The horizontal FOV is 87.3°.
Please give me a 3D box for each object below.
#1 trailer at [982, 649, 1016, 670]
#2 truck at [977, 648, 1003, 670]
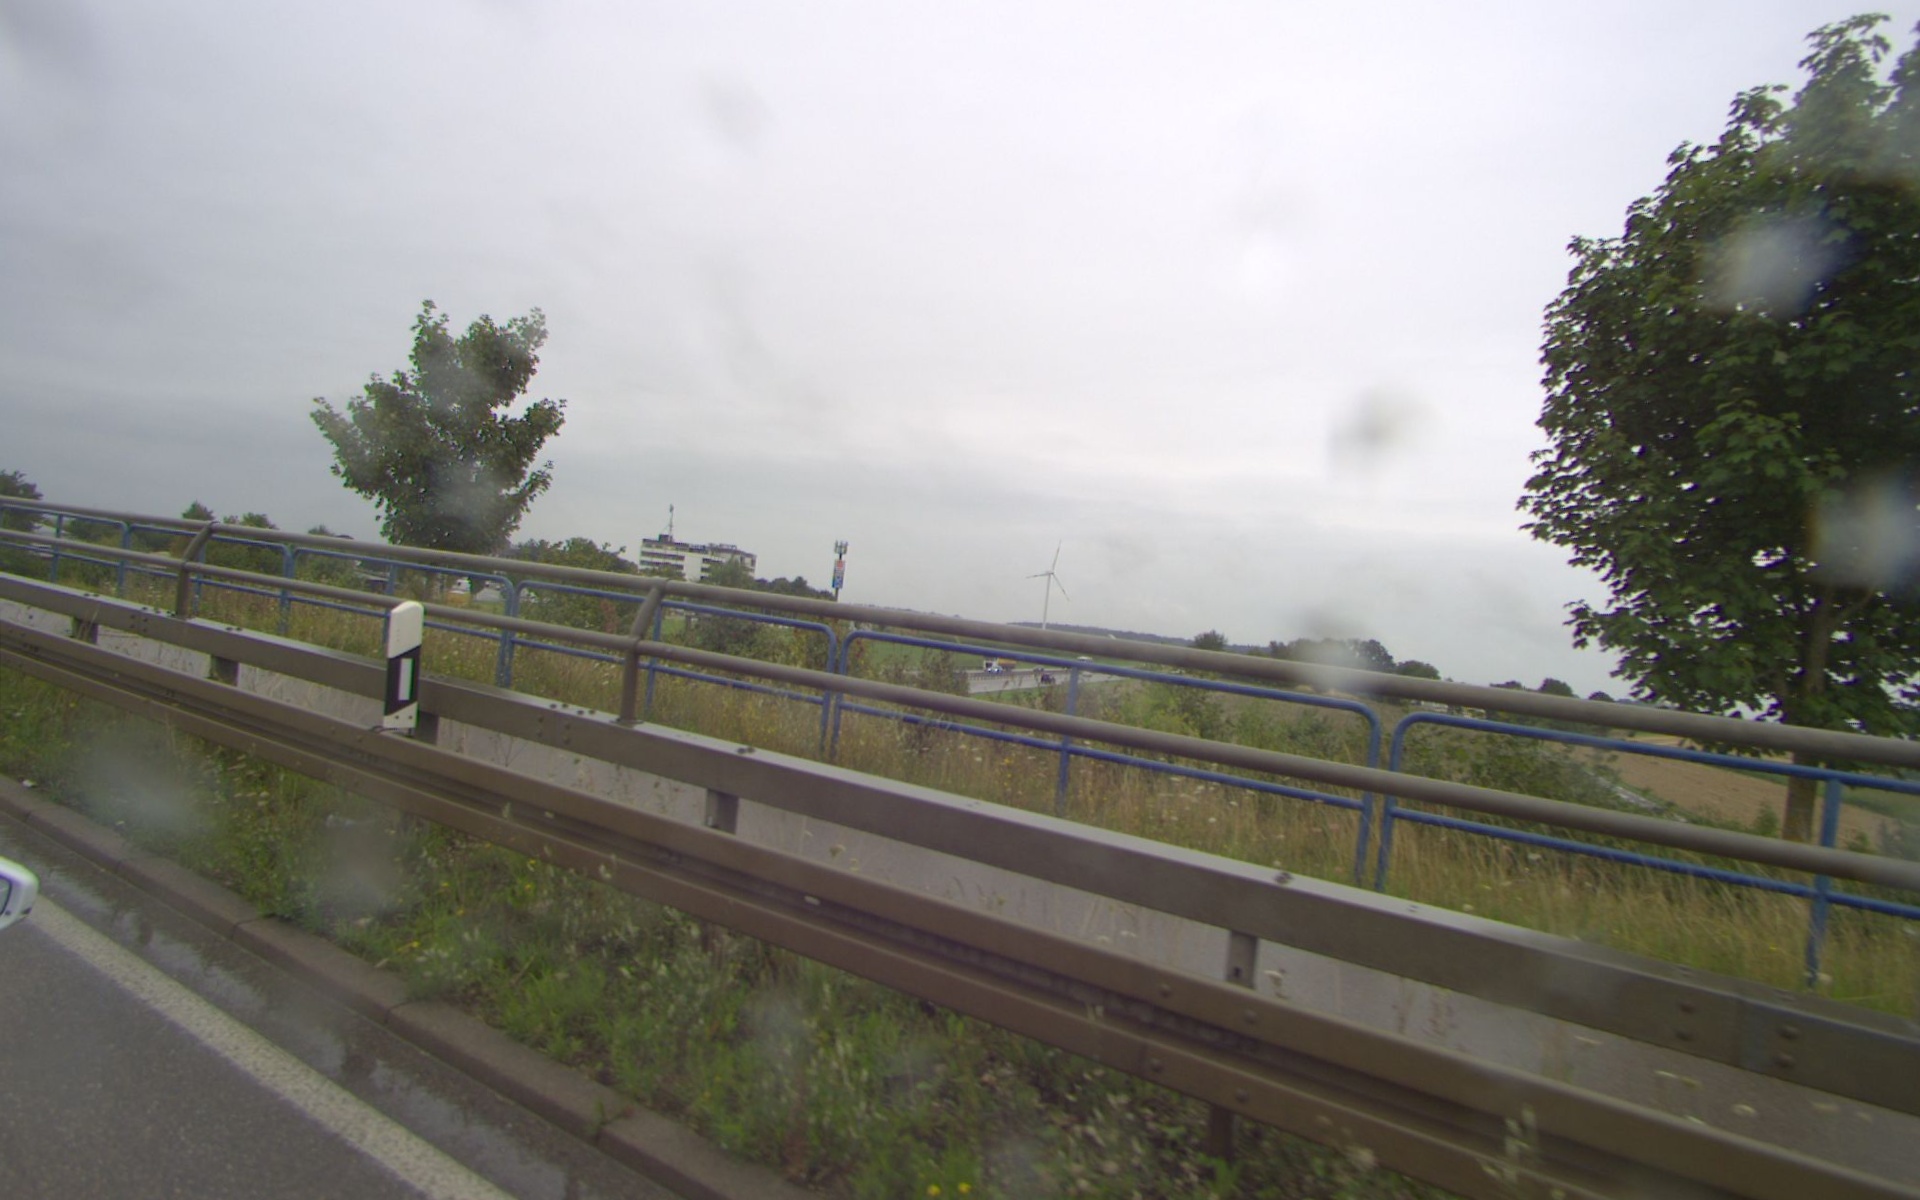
[{"bbox_3d":[8.237,12.505,211.387,2.828,4.014,14.030,7,-1,19],"label":"trailer"},{"bbox_3d":[6.142,12.093,205.257,2.828,4.015,6.824,7,-1,19],"label":"truck"}]
